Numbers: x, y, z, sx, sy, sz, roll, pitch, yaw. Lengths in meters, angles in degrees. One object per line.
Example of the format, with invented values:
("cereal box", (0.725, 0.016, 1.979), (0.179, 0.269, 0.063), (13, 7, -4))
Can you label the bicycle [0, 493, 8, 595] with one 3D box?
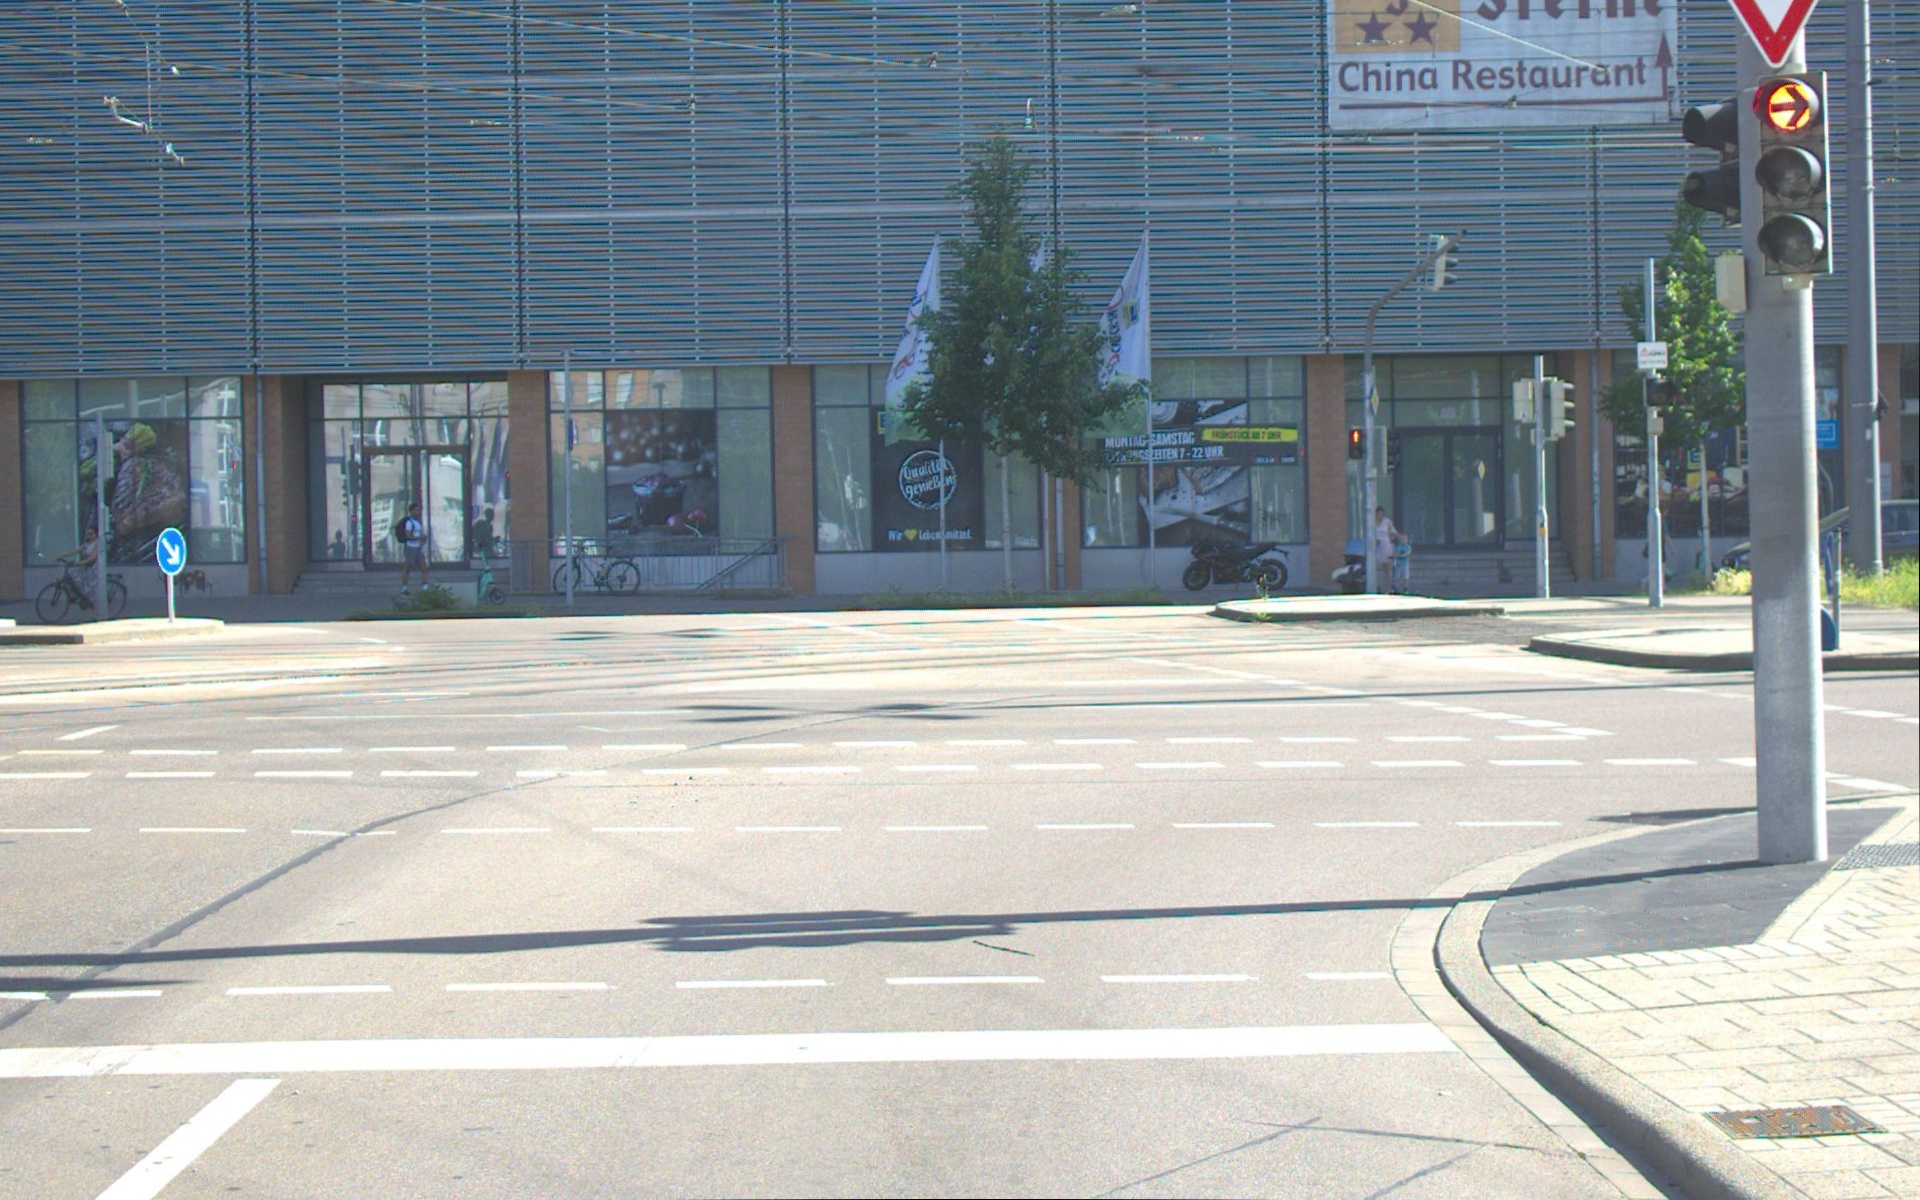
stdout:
("bicycle", (-20.892, -1.110, 67.588), (3.987, 2.006, 1.330), (0, 2, 0))

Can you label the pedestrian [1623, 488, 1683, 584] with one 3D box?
("pedestrian", (12.598, -1.166, 62.537), (0.853, 1.732, 0.754), (-1, 1, -7))

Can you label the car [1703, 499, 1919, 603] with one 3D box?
("car", (13.582, -0.752, 51.637), (4.487, 1.489, 1.495), (-1, 1, 0))

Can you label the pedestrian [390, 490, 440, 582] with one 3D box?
("pedestrian", (-10.597, -1.247, 66.878), (0.848, 1.757, 0.620), (-1, 1, -1))

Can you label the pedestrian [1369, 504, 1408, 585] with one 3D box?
("pedestrian", (7.758, -1.003, 62.231), (0.589, 1.457, 0.658), (-1, 1, -1))

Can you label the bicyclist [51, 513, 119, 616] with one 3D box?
("bicyclist", (-15.479, -0.637, 60.798), (0.843, 1.797, 0.816), (-2, 2, -42))

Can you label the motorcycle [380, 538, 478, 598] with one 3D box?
("motorcycle", (-9.514, -0.572, 61.619), (1.652, 1.055, 0.497), (-1, 1, 9))

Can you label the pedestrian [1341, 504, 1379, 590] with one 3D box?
("pedestrian", (7.157, -0.946, 61.518), (0.589, 1.529, 0.658), (-1, 1, -1))

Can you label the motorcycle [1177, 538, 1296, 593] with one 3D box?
("motorcycle", (5.357, -0.670, 66.743), (2.202, 1.039, 1.061), (0, 2, 0))

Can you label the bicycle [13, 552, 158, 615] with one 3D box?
("bicycle", (-15.471, -0.302, 60.851), (2.238, 1.067, 1.046), (-2, 2, -41))

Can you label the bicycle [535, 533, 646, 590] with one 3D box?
("bicycle", (-7.155, -0.746, 66.630), (2.026, 1.055, 1.145), (-1, 1, -1))
